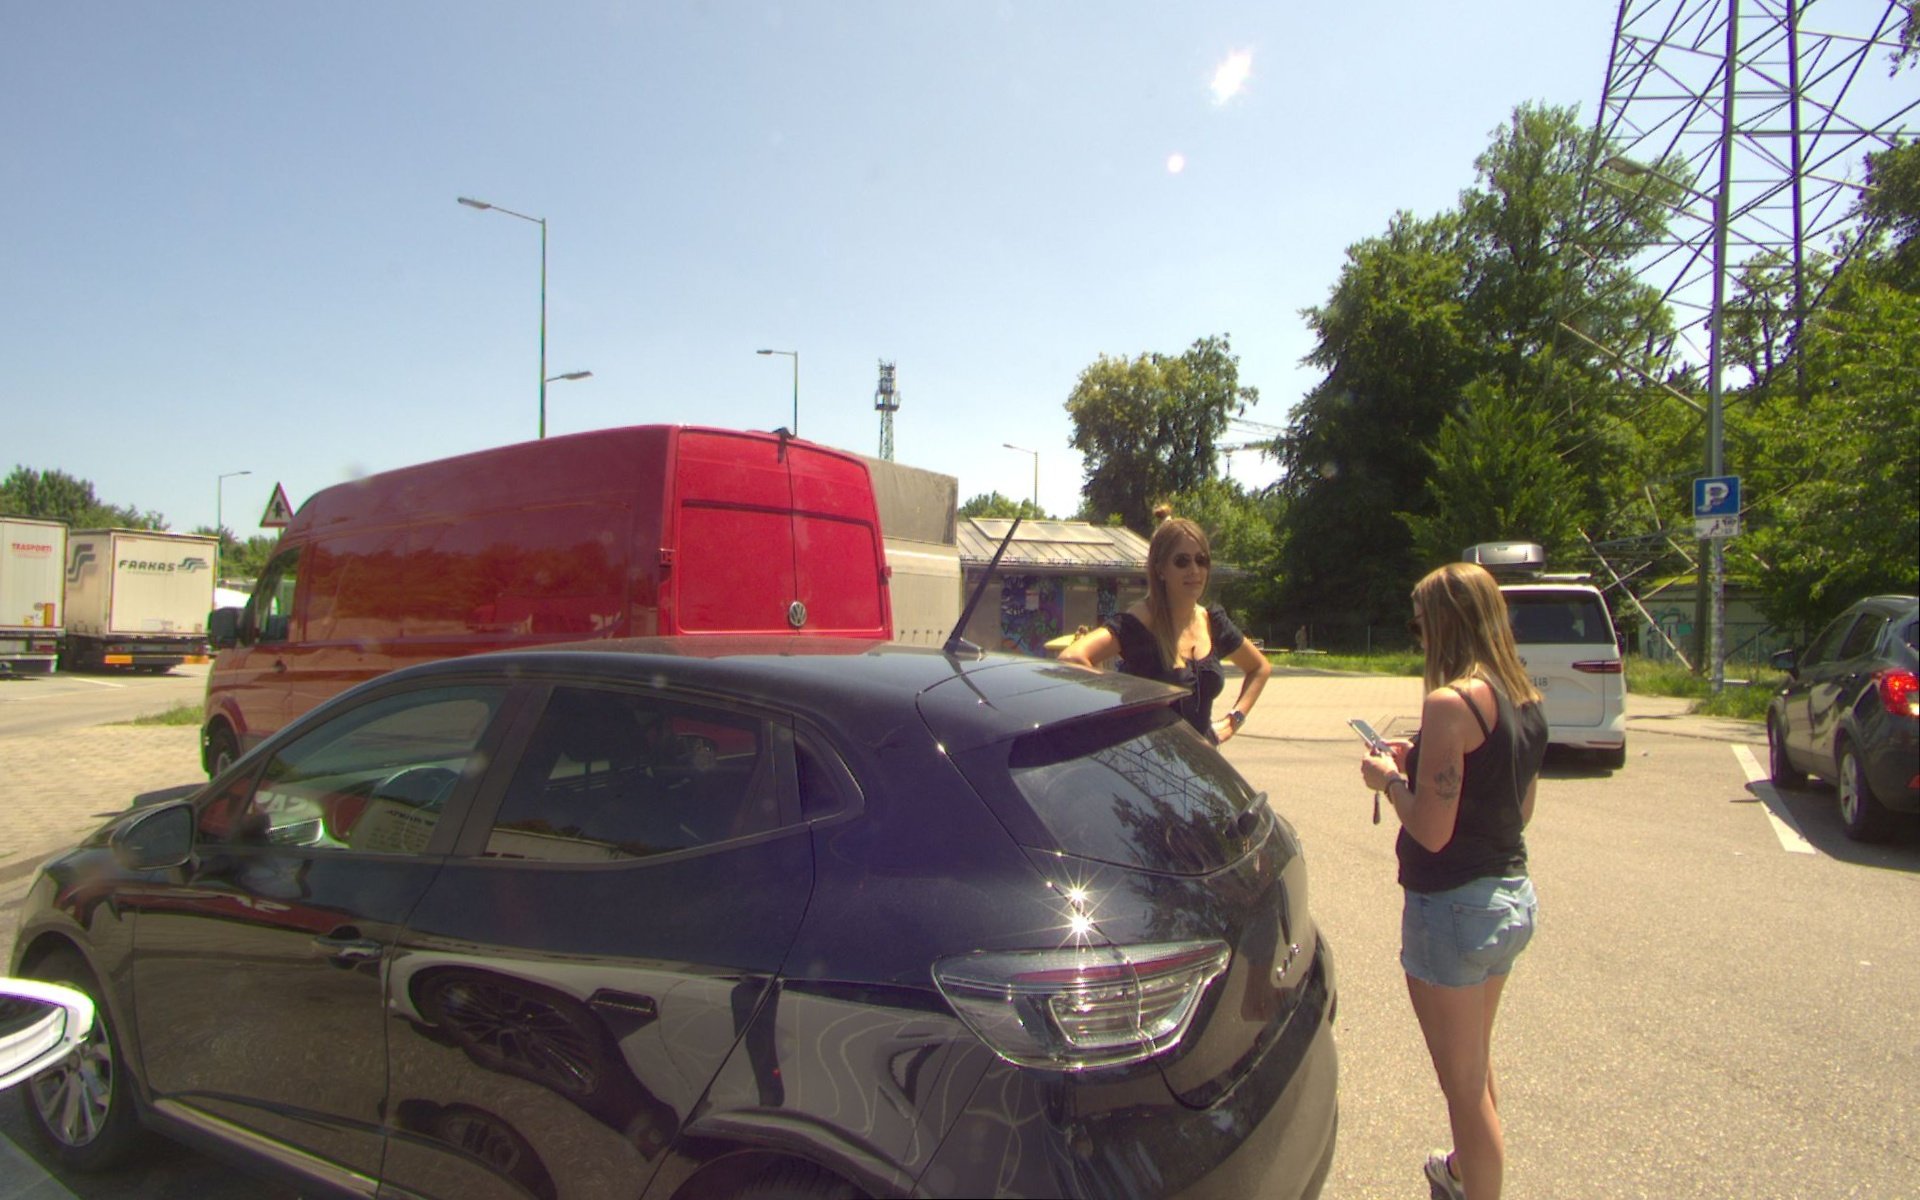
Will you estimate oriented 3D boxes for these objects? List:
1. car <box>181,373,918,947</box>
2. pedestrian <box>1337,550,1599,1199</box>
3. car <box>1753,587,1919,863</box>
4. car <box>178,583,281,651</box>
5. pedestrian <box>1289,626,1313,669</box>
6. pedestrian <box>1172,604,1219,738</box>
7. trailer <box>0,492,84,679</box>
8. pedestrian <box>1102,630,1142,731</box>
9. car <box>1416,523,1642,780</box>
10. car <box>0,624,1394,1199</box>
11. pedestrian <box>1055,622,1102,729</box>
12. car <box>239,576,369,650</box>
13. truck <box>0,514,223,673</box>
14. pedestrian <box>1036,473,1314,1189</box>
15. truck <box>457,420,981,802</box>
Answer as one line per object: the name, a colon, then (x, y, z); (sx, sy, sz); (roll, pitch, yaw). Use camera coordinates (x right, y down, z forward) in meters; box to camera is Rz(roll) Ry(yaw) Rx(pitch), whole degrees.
car: (-3.394, 0.304, 7.335); (6.298, 2.668, 1.988); (0, -1, 36)
pedestrian: (1.166, 0.715, 2.313); (0.478, 1.615, 0.501); (0, 0, 29)
car: (7.375, 0.798, 7.357); (1.811, 1.638, 4.149); (0, -1, 30)
car: (-29.935, 0.738, 41.019); (3.943, 2.632, 2.111); (-1, -2, 32)
pedestrian: (16.215, 2.269, 47.653); (0.955, 2.039, 0.829); (0, -1, 10)
pedestrian: (3.244, 0.951, 13.754); (0.520, 1.783, 0.651); (0, 0, 23)
trailer: (-28.485, -0.353, 27.791); (12.642, 4.511, 2.677); (0, -1, 32)
pedestrian: (2.250, 1.100, 13.921); (0.439, 1.362, 0.477); (0, 0, 23)
car: (6.738, 0.546, 11.993); (1.901, 2.401, 4.954); (1, -1, 29)
car: (-0.827, 0.827, 2.778); (3.628, 1.476, 1.776); (-1, -2, 27)
pedestrian: (1.676, 1.049, 14.149); (0.521, 1.478, 0.576); (0, 0, 23)
car: (-29.465, 0.583, 44.937); (6.259, 3.115, 2.495); (0, -1, 32)
truck: (-27.134, -0.007, 31.217); (11.800, 4.279, 2.582); (-1, -2, 32)
pedestrian: (0.704, 0.620, 3.143); (0.481, 1.884, 0.906); (0, 0, 39)
truck: (-2.450, 0.163, 9.893); (4.751, 2.863, 2.514); (-1, -2, 34)
